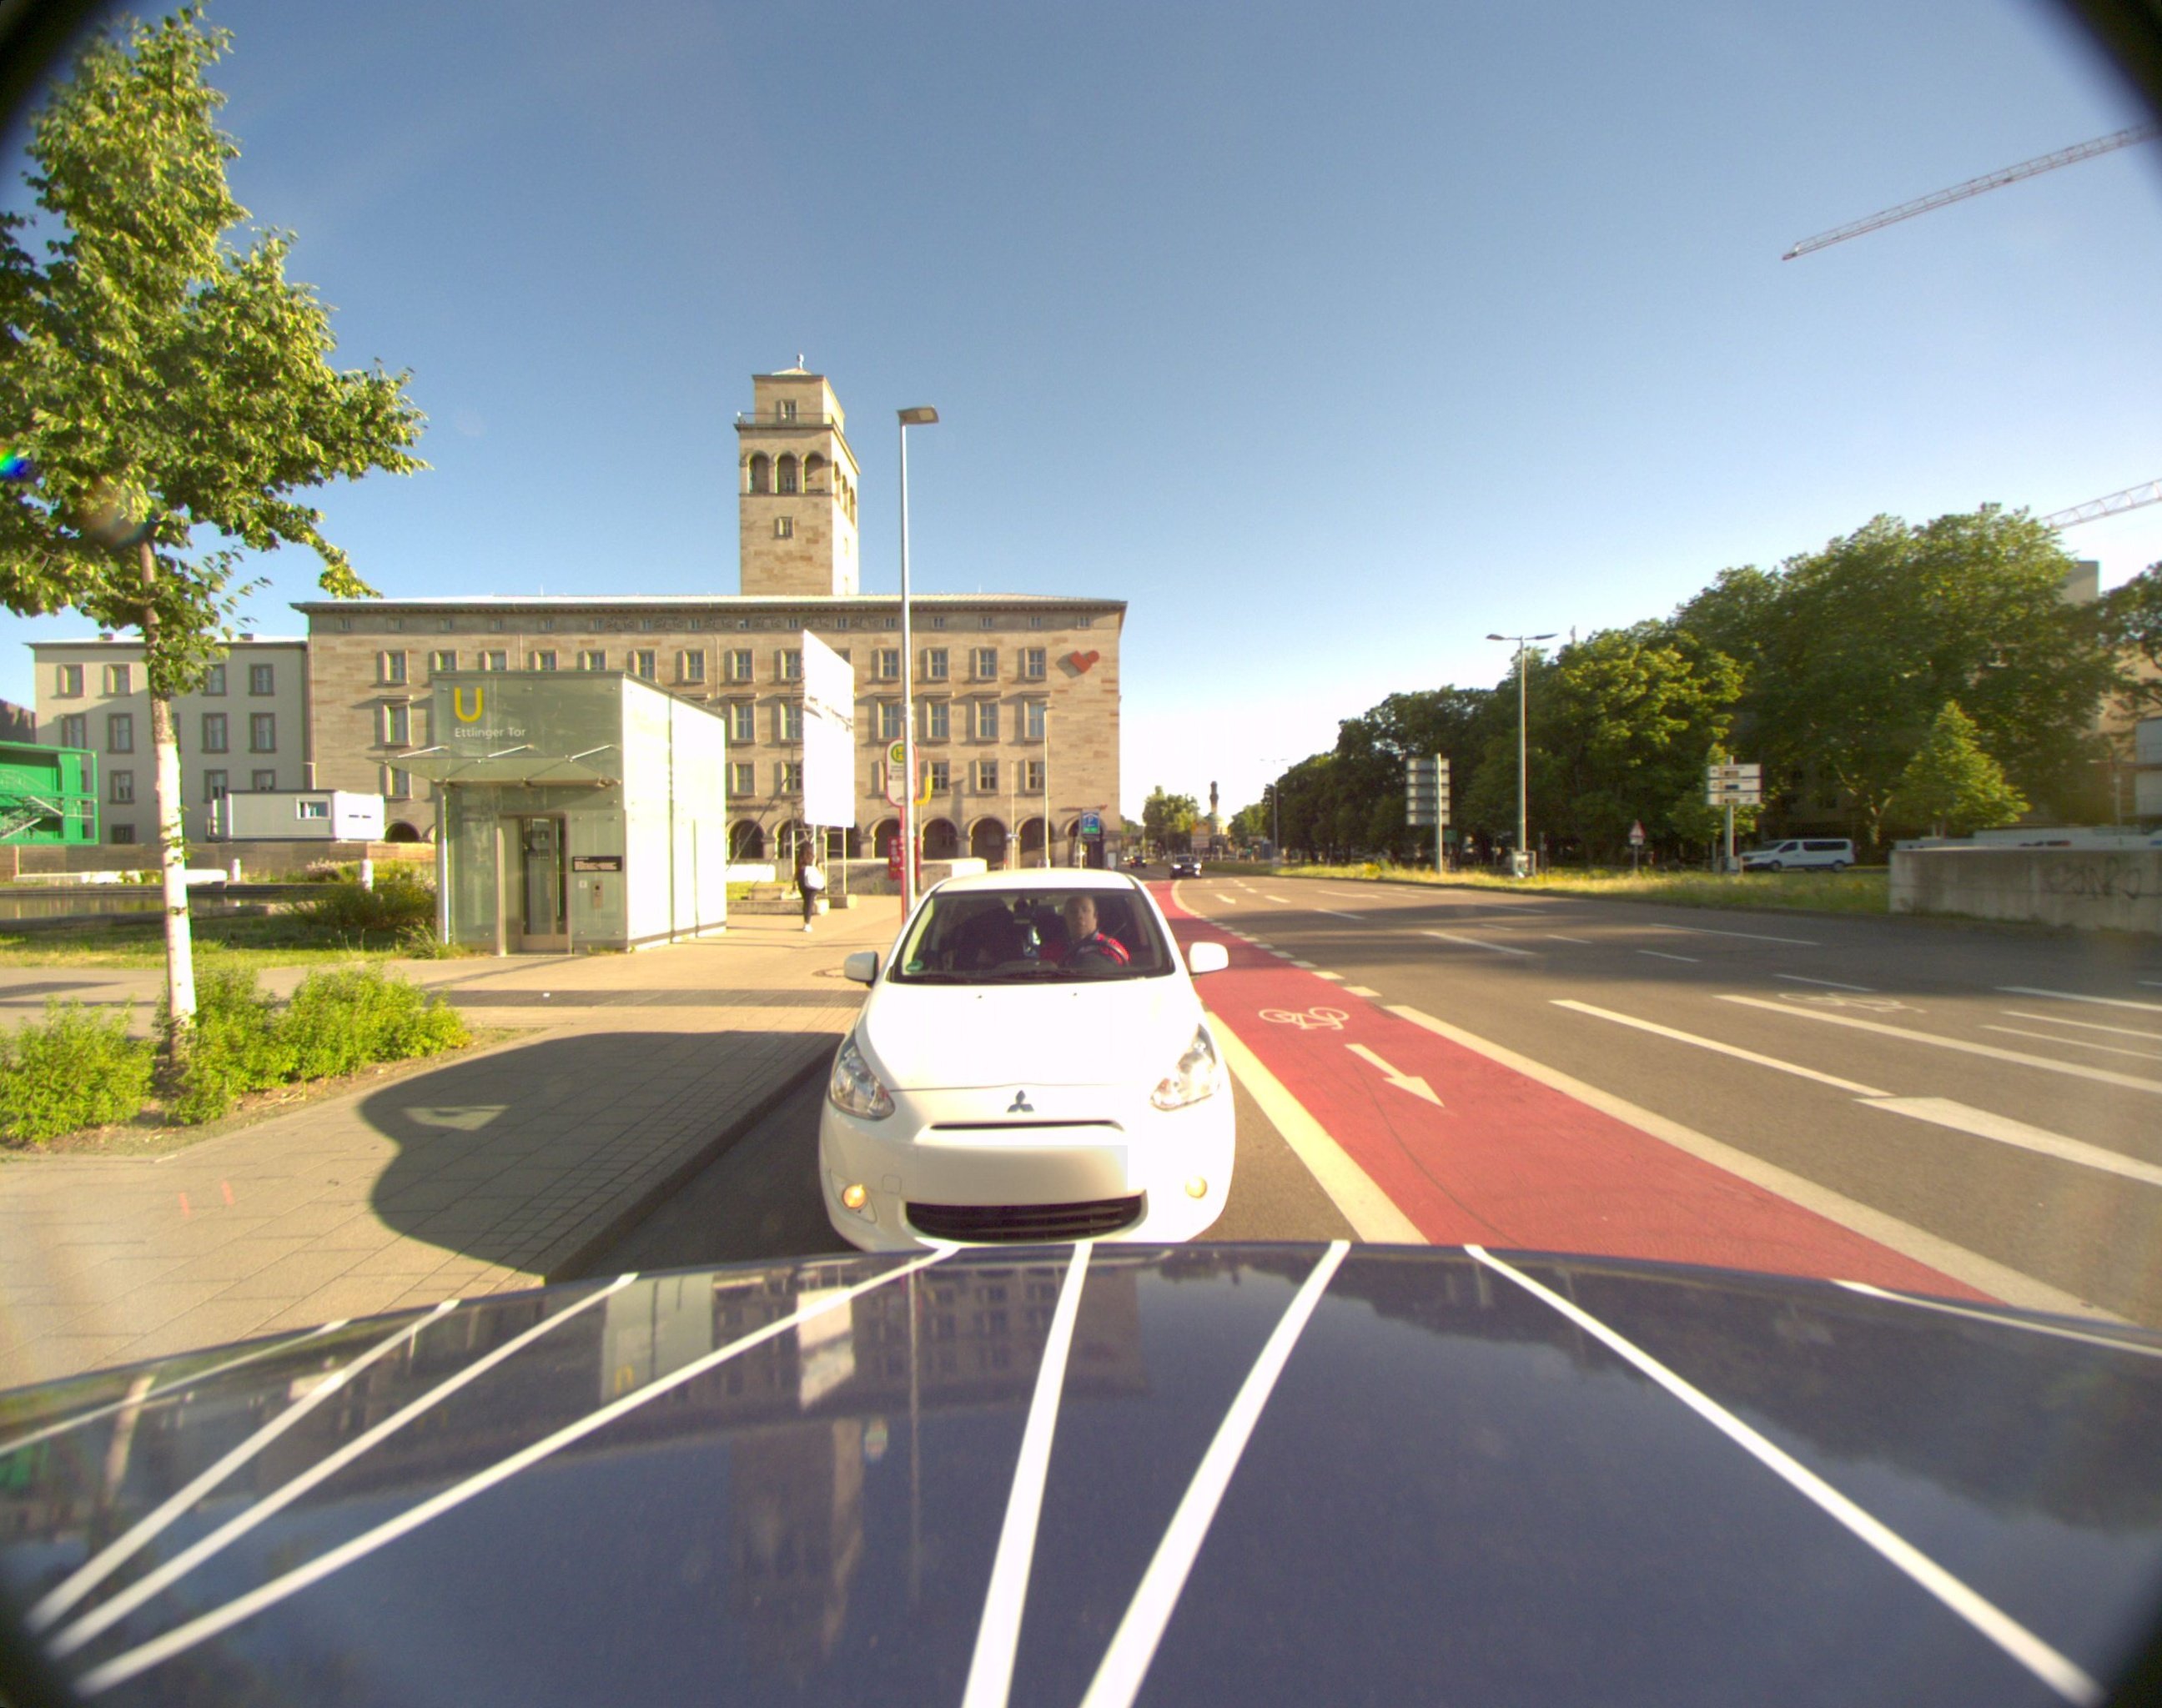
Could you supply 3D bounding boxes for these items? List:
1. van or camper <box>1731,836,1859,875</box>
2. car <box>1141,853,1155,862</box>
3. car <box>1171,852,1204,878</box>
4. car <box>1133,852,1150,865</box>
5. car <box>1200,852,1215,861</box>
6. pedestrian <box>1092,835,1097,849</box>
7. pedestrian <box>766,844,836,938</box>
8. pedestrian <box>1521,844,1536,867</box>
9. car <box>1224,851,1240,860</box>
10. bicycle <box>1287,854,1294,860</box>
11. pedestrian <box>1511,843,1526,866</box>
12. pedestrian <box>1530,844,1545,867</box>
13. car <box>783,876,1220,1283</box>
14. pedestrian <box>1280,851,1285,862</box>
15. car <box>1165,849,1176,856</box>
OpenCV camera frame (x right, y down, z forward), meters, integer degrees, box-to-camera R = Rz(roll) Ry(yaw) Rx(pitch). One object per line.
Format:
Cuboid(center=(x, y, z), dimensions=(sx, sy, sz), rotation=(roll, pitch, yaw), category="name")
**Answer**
Cuboid(center=(42.294, 0.081, 45.082), dimensions=(5.649, 2.002, 1.948), rotation=(-2, 1, 2), category="van or camper")
Cuboid(center=(11.270, 0.609, 128.289), dimensions=(1.998, 1.398, 4.488), rotation=(-2, 0, 2), category="car")
Cuboid(center=(7.262, 0.709, 52.127), dimensions=(1.937, 1.634, 4.618), rotation=(-1, 0, 4), category="car")
Cuboid(center=(7.923, 0.596, 100.053), dimensions=(1.998, 1.709, 4.325), rotation=(-1, 0, 0), category="car")
Cuboid(center=(20.874, 0.425, 125.582), dimensions=(1.872, 1.390, 3.999), rotation=(-1, 0, -1), category="car")
Cuboid(center=(1.795, -1.590, 100.062), dimensions=(0.704, 1.843, 0.828), rotation=(-1, 1, 0), category="pedestrian")
Cuboid(center=(-5.483, 0.705, 14.964), dimensions=(0.942, 1.776, 1.072), rotation=(0, 1, 1), category="pedestrian")
Cuboid(center=(33.717, 0.114, 57.273), dimensions=(0.665, 1.715, 0.762), rotation=(-1, 1, 1), category="pedestrian")
Cuboid(center=(26.242, 0.258, 132.010), dimensions=(1.998, 1.499, 4.000), rotation=(-1, 0, 2), category="car")
Cuboid(center=(31.561, 0.423, 114.380), dimensions=(0.610, 0.838, 1.745), rotation=(-1, 0, -1), category="bicycle")
Cuboid(center=(32.966, 0.057, 57.231), dimensions=(0.707, 1.715, 0.762), rotation=(-1, 1, 1), category="pedestrian")
Cuboid(center=(34.372, 0.089, 57.213), dimensions=(0.707, 1.715, 0.762), rotation=(-1, 1, 1), category="pedestrian")
Cuboid(center=(-0.244, 0.958, 4.944), dimensions=(1.678, 1.440, 3.889), rotation=(-2, 0, 2), category="car")
Cuboid(center=(32.198, 0.391, 121.418), dimensions=(0.627, 1.837, 0.926), rotation=(-1, 1, 8), category="pedestrian")
Cuboid(center=(19.178, -0.329, 163.119), dimensions=(1.873, 1.390, 3.999), rotation=(-1, 0, -2), category="car")
